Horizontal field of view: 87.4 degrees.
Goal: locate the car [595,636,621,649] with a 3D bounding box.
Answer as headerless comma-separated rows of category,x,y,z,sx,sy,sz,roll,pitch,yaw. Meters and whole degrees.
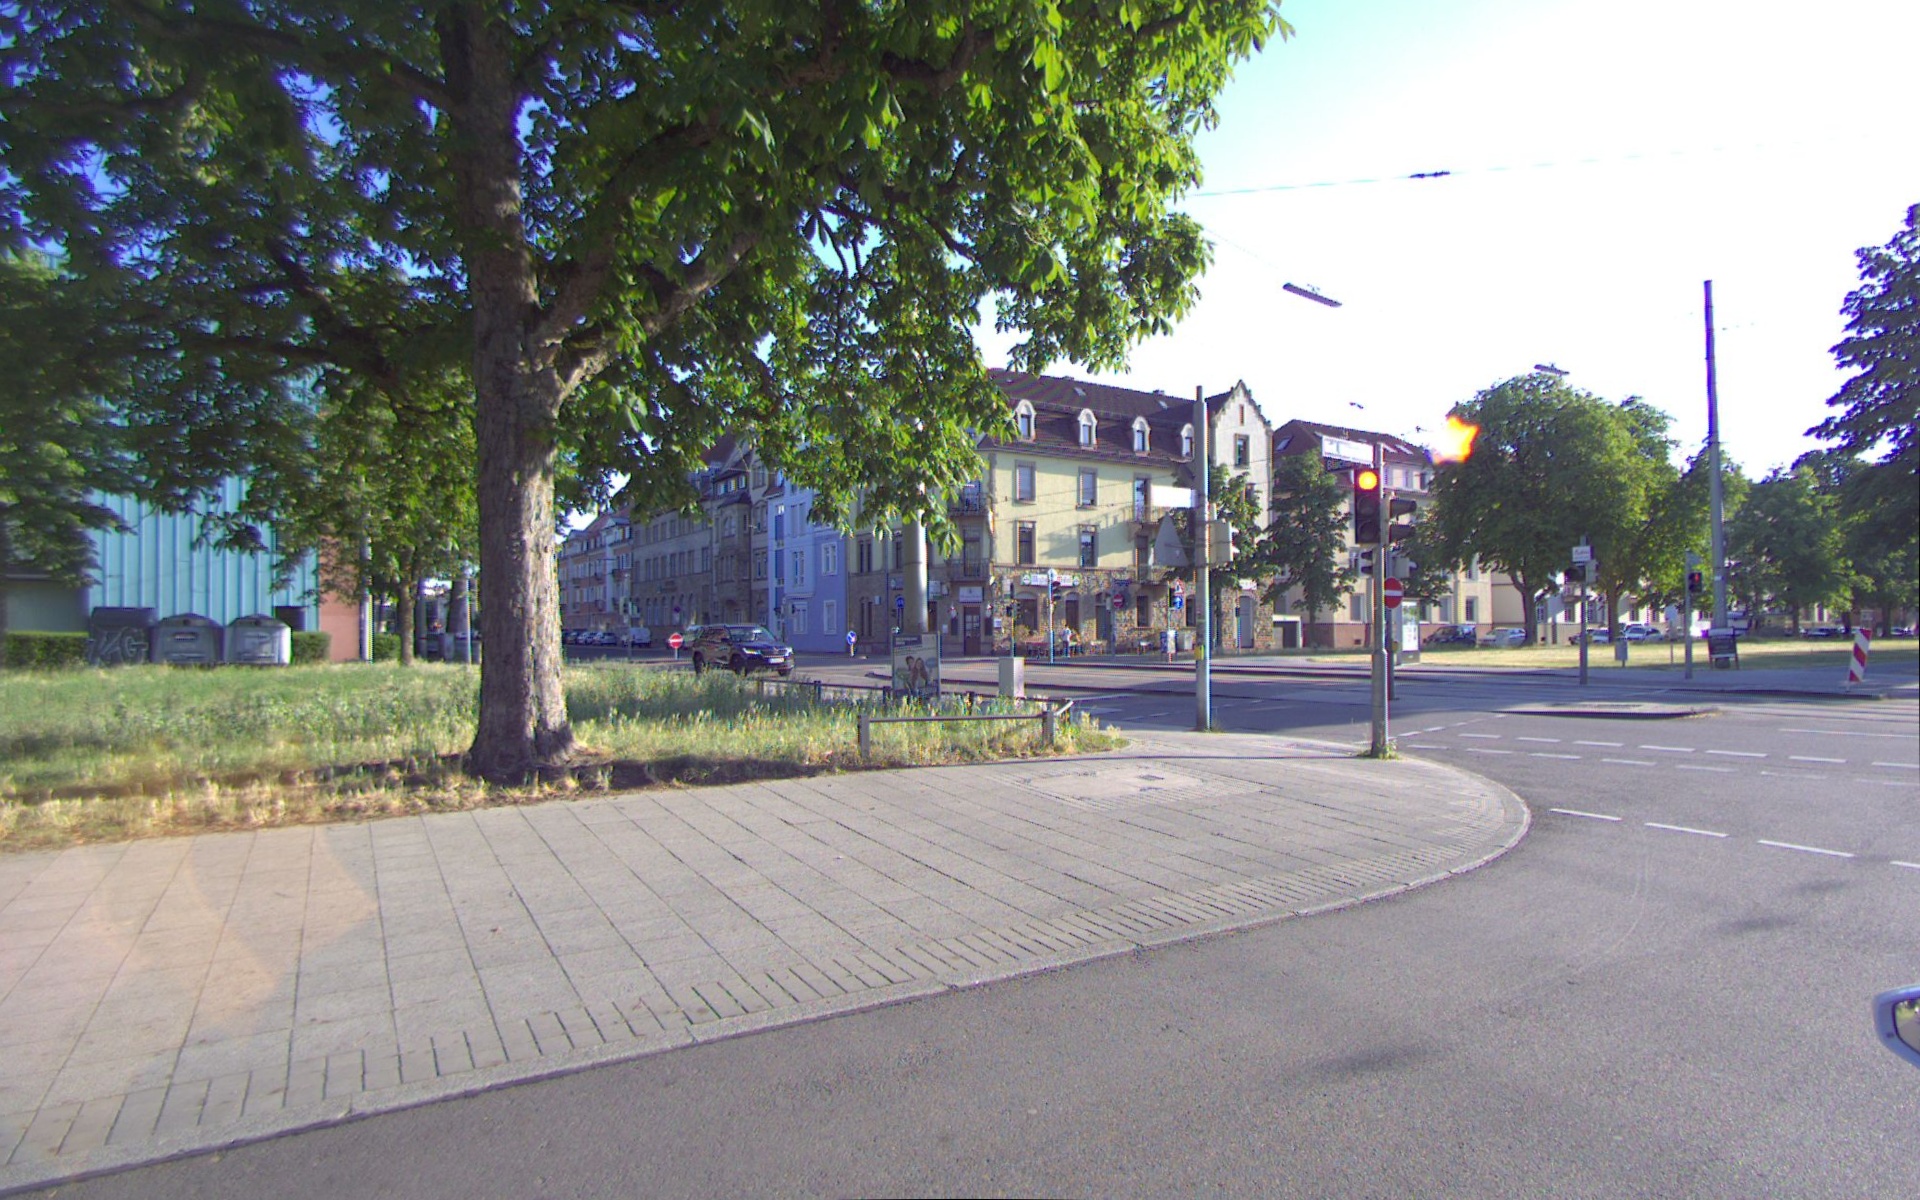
car,-36.445,4.376,103.880,1.867,1.299,4.013,1,-2,-29

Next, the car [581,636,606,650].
car,-39.677,4.670,108.672,1.867,1.433,4.013,1,-2,-29

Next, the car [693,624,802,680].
car,-6.937,1.617,32.458,1.861,1.685,4.519,1,-2,-35

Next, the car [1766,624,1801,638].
car,86.173,3.209,105.118,3.749,1.446,1.729,1,-1,-31

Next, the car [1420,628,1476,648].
car,35.433,2.713,72.878,3.741,1.416,1.733,1,-2,-26

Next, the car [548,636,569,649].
car,-48.949,5.159,122.385,1.867,1.433,4.013,1,-2,-29

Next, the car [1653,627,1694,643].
car,65.845,3.236,92.719,3.749,1.446,1.729,1,-2,-31

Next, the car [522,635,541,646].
car,-57.582,5.376,134.910,1.867,1.433,4.013,1,-2,-29

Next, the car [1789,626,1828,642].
car,80.211,3.186,94.964,3.749,1.446,1.729,1,-1,-31

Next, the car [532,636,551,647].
car,-54.653,5.434,131.106,1.867,1.433,4.013,1,-2,-29

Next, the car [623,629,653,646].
car,-30.158,3.501,94.080,1.888,1.610,4.013,2,-2,-29

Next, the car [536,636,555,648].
car,-52.387,5.275,126.903,1.867,1.433,4.013,1,-1,-29

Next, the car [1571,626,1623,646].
car,46.288,2.599,72.961,3.749,1.446,1.729,1,-1,-31

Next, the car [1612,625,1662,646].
car,51.353,2.679,76.143,3.748,1.446,1.729,-1,0,-31

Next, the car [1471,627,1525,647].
car,40.821,2.773,76.232,3.741,1.446,1.732,1,-1,-26

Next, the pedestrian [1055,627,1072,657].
pedestrian,5.793,2.347,56.238,0.712,1.664,0.815,-1,-1,24

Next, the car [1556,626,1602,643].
car,51.997,2.878,84.364,3.749,1.446,1.729,1,-2,-31

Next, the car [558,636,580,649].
car,-45.817,4.994,117.697,1.867,1.433,4.013,1,-2,-29

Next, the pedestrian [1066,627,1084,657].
pedestrian,6.513,2.370,57.121,0.715,1.664,0.811,0,-1,-23

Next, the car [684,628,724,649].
car,-20.031,3.003,78.450,2.074,1.612,4.014,2,-2,-29

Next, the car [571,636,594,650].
car,-42.639,4.855,113.524,1.867,1.433,4.013,1,-2,-29

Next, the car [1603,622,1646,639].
car,57.482,2.592,86.885,3.749,1.446,1.729,1,-1,-31
